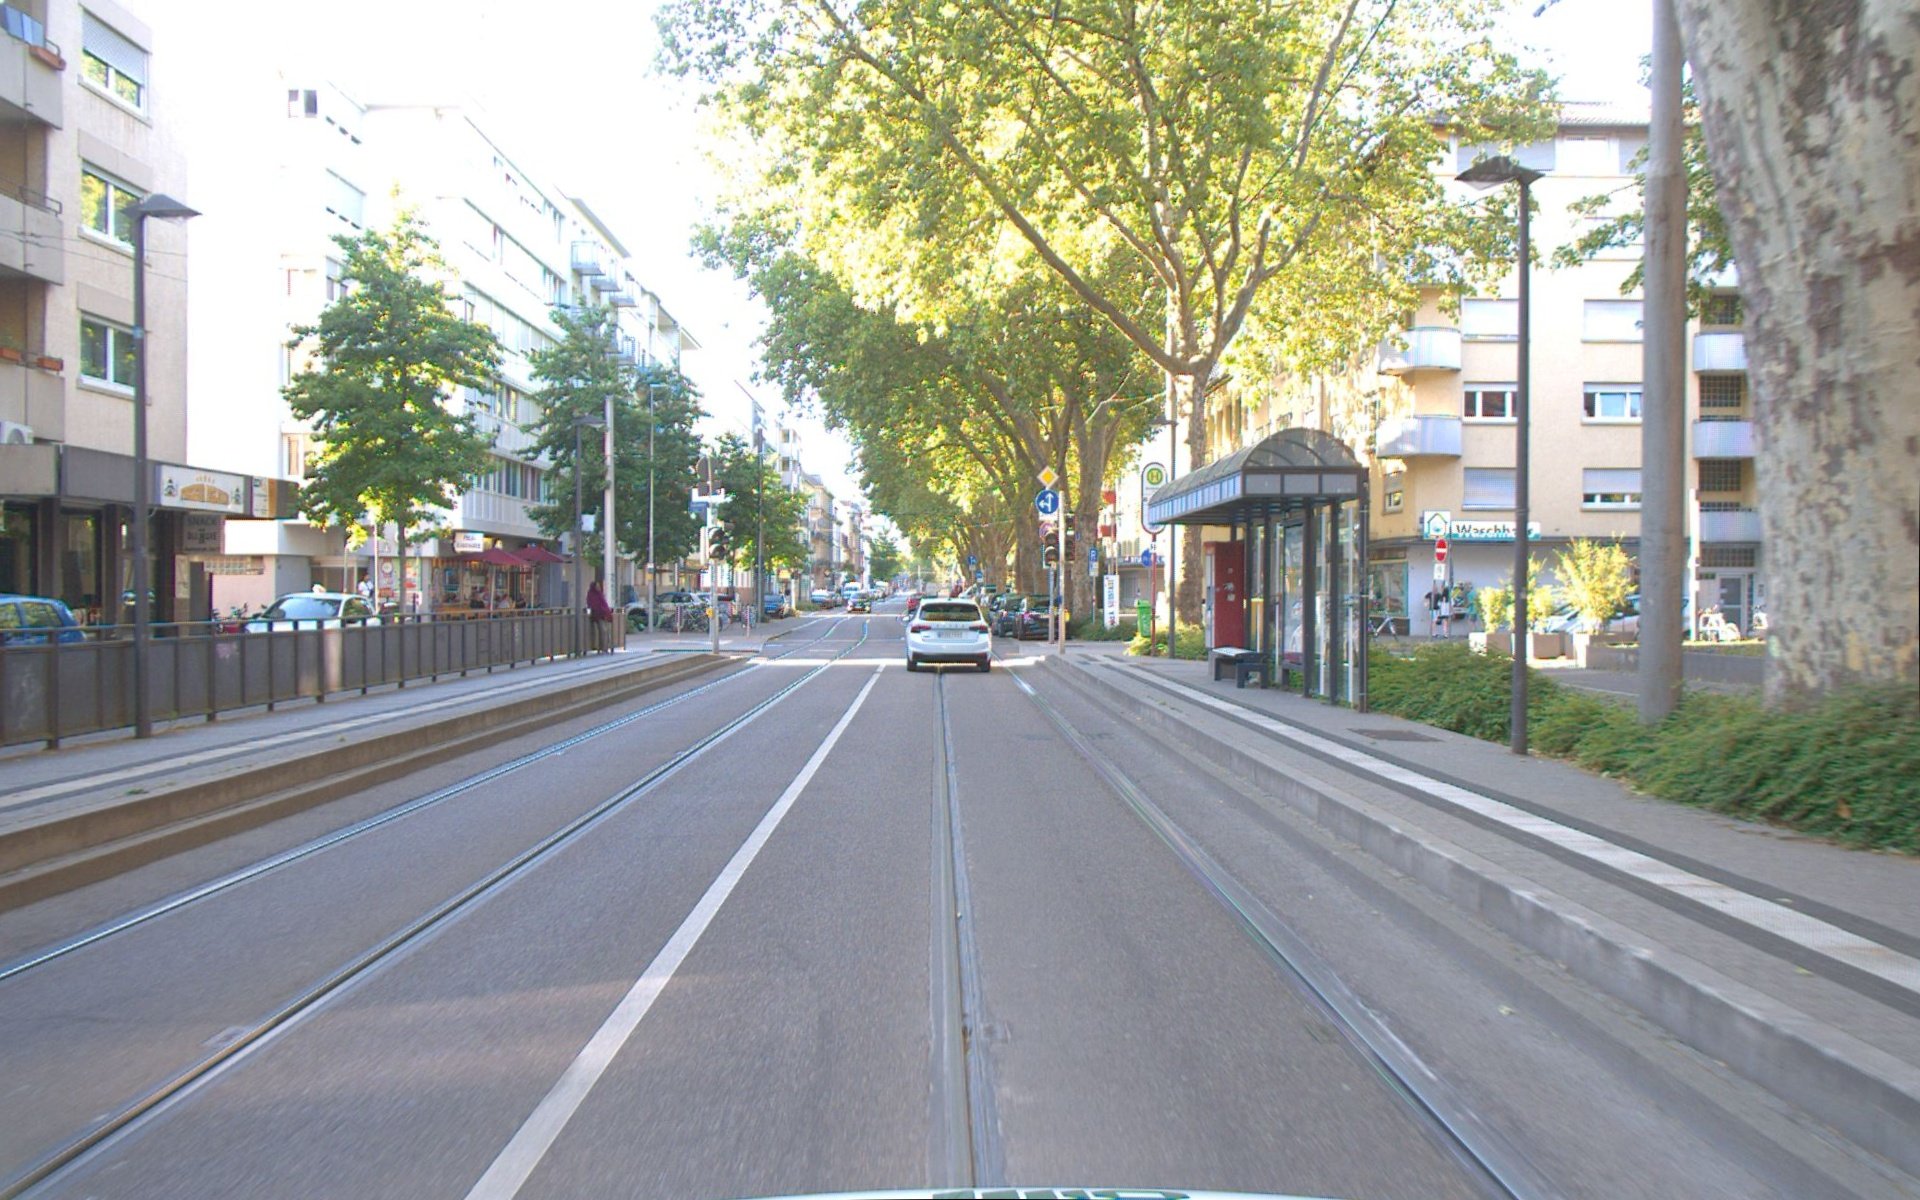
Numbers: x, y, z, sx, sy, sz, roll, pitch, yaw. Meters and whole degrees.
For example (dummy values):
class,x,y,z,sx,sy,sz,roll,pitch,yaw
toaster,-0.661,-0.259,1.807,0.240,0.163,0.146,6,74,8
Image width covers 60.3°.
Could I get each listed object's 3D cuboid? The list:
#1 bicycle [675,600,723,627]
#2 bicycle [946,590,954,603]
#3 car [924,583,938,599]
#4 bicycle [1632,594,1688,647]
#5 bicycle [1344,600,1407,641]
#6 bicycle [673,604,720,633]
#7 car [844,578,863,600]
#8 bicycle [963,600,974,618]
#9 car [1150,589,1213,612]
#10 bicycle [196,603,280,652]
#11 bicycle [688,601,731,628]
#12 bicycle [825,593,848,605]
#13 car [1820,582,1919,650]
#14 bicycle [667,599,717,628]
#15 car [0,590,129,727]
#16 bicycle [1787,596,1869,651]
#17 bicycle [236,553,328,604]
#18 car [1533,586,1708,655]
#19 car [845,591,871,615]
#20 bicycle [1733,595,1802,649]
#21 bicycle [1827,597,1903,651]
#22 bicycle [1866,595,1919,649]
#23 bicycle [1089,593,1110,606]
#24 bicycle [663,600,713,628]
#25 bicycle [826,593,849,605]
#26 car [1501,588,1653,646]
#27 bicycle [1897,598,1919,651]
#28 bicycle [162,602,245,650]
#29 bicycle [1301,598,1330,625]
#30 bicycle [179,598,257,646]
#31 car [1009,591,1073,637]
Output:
class,x,y,z,sx,sy,sz,roll,pitch,yaw
bicycle,-10.100,0.527,64.082,1.794,1.025,0.657,1,0,-6
bicycle,-0.872,-0.322,147.983,0.636,1.089,1.582,0,0,-3
car,-4.482,-1.438,253.836,2.157,2.429,3.999,0,0,-1
bicycle,16.116,0.463,38.101,0.587,1.177,1.698,-2,0,2
bicycle,12.728,0.615,50.639,1.767,1.177,0.740,-2,0,-23
bicycle,-9.612,0.681,60.388,1.658,1.025,0.657,1,0,-6
car,-14.495,-1.500,225.328,2.295,2.911,3.999,0,0,-1
bicycle,0.525,0.551,100.937,0.667,1.089,1.780,0,0,0
car,15.674,0.046,117.025,4.052,1.621,1.997,0,0,-6
bicycle,-17.724,0.675,40.632,1.819,1.177,0.572,0,0,3
bicycle,-9.909,0.564,65.439,1.658,1.025,0.657,1,0,-6
bicycle,-13.625,-0.107,182.965,2.510,1.193,0.870,3,-2,-41
car,24.910,0.393,43.343,3.783,1.722,1.865,0,0,-2
bicycle,-10.094,0.508,62.304,1.794,1.025,0.657,1,0,-6
car,-12.051,0.686,19.888,1.916,1.571,4.388,-1,0,-1
bicycle,19.690,0.522,37.559,0.715,1.177,2.050,-2,0,-1
bicycle,-15.973,-0.515,38.993,2.004,1.177,0.568,0,0,-24
car,17.120,0.508,42.980,3.783,1.722,1.865,0,0,-2
car,-7.564,0.205,123.189,1.834,1.617,4.144,2,0,-3
bicycle,18.420,0.496,37.763,0.623,1.177,1.982,-2,0,2
bicycle,20.616,0.535,37.711,0.647,1.177,1.850,-2,0,-2
bicycle,21.452,0.481,37.650,0.647,1.177,1.697,-2,0,-2
bicycle,12.304,-0.031,146.055,1.756,1.060,0.617,-2,0,-5
bicycle,-10.176,0.516,61.860,1.794,1.025,0.657,1,0,-6
bicycle,-13.633,-0.110,183.801,2.477,1.193,0.718,2,-2,-8
car,18.206,0.487,48.893,3.783,1.579,1.866,0,3,-2
bicycle,22.164,0.561,37.626,0.647,1.177,1.697,-2,0,-2
bicycle,-18.604,0.634,40.675,1.750,1.177,0.571,0,0,-8
bicycle,13.589,0.435,63.243,0.559,1.014,1.778,-2,0,-6
bicycle,-18.612,0.552,41.485,1.745,1.177,0.572,0,0,10
car,2.743,0.449,56.936,1.729,1.488,5.010,0,0,-3
